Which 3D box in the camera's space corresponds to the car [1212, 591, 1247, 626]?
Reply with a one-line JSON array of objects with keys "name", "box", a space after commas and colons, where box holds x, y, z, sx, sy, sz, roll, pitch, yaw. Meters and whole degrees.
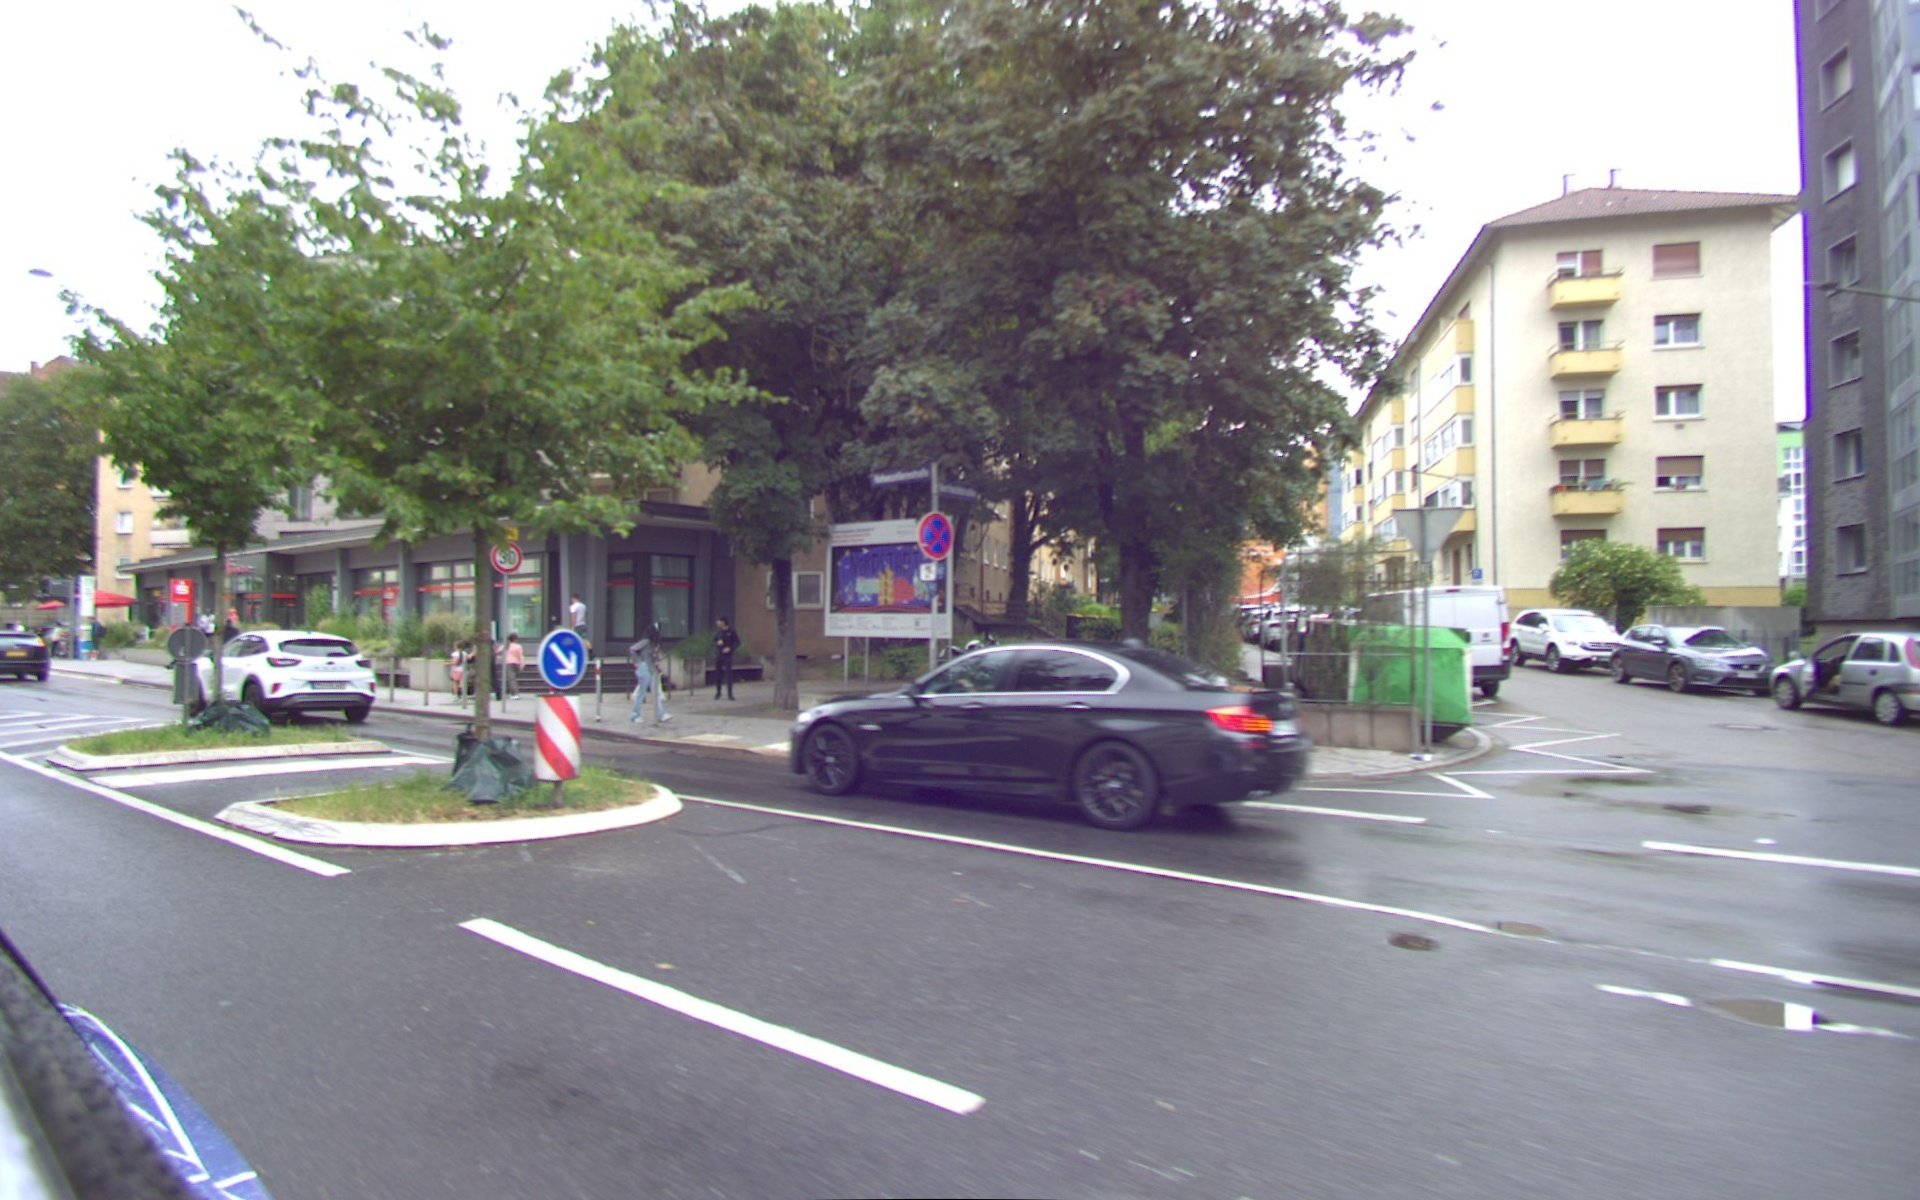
[{"name": "car", "box": [16.367, 0.577, 61.305, 1.982, 2.029, 3.979, -1, -2, 16]}]

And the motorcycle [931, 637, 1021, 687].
[{"name": "motorcycle", "box": [0.393, 1.443, 23.845, 2.026, 0.995, 0.798, -3, 1, -38]}]

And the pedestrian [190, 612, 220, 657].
[{"name": "pedestrian", "box": [-28.218, 1.280, 37.833, 0.712, 1.691, 0.707, -1, -1, 36]}]

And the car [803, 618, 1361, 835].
[{"name": "car", "box": [0.914, 0.886, 8.890, 4.492, 1.436, 1.995, -1, -2, 37]}]

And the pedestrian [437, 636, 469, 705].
[{"name": "pedestrian", "box": [-10.683, 1.479, 21.328, 0.480, 1.421, 0.429, -1, -1, 34]}]

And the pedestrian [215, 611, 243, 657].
[{"name": "pedestrian", "box": [-27.123, 1.262, 37.560, 0.701, 1.691, 0.803, 0, -1, -25]}]

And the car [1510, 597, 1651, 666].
[{"name": "car", "box": [16.787, 0.838, 27.625, 1.979, 1.741, 3.986, 0, -1, 11]}]

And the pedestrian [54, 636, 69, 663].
[{"name": "pedestrian", "box": [-38.250, 2.087, 43.081, 0.385, 1.125, 0.388, -1, -1, 37]}]

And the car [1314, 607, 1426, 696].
[{"name": "car", "box": [11.202, 1.379, 27.948, 1.977, 2.273, 3.989, 0, -2, 9]}]

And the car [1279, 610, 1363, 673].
[{"name": "car", "box": [12.394, 1.372, 35.013, 1.977, 2.029, 3.989, 0, -1, 9]}]

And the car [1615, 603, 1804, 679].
[{"name": "car", "box": [15.951, 0.838, 21.800, 1.676, 1.475, 3.986, 0, -1, 11]}]

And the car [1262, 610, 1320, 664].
[{"name": "car", "box": [12.931, 1.437, 39.684, 1.982, 2.029, 3.979, -1, -2, 16]}]

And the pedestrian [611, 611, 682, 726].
[{"name": "pedestrian", "box": [-5.166, 1.112, 16.712, 0.846, 1.840, 0.720, -1, -1, 14]}]

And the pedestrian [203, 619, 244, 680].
[{"name": "pedestrian", "box": [-22.623, 1.517, 31.085, 0.716, 1.840, 0.719, -1, -1, 18]}]

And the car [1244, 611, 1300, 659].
[{"name": "car", "box": [13.935, 1.550, 45.383, 1.979, 2.029, 3.984, 0, -2, 12]}]

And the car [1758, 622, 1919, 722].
[{"name": "car", "box": [15.067, 1.078, 16.279, 1.979, 1.454, 3.715, 0, -1, 11]}]

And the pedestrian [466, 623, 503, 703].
[{"name": "pedestrian", "box": [-10.140, 1.330, 21.583, 0.551, 1.686, 0.493, -1, -1, 34]}]

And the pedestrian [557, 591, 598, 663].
[{"name": "pedestrian", "box": [-9.979, 0.712, 26.423, 0.714, 1.840, 0.721, -1, -1, 9]}]

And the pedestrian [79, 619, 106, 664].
[{"name": "pedestrian", "box": [-35.894, 1.700, 41.863, 0.866, 1.833, 0.585, -1, -1, 29]}]

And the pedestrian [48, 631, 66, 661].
[{"name": "pedestrian", "box": [-38.703, 1.960, 43.369, 0.548, 1.287, 0.463, -1, -1, 37]}]

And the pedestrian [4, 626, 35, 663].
[{"name": "pedestrian", "box": [-44.970, 2.108, 48.400, 0.754, 1.721, 0.790, -1, 0, 12]}]

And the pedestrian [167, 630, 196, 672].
[{"name": "pedestrian", "box": [-27.147, 1.775, 35.306, 0.582, 1.431, 0.727, 0, -1, -18]}]

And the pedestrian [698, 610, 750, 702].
[{"name": "pedestrian", "box": [-4.906, 1.139, 21.043, 0.690, 1.859, 0.856, -1, -1, 22]}]

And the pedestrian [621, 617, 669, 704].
[{"name": "pedestrian", "box": [-6.573, 1.246, 21.128, 0.714, 1.772, 0.654, 0, -1, 14]}]

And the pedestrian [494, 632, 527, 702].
[{"name": "pedestrian", "box": [-9.771, 1.441, 21.991, 0.529, 1.484, 0.456, -1, -1, 34]}]

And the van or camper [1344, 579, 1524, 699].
[{"name": "van or camper", "box": [10.033, 0.727, 21.886, 2.186, 2.283, 4.607, -1, 1, 8]}]

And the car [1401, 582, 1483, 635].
[{"name": "car", "box": [19.280, 0.376, 40.663, 1.979, 2.029, 3.986, 0, -1, 11]}]

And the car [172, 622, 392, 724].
[{"name": "car", "box": [-11.845, 1.246, 17.612, 4.081, 1.581, 1.803, -1, -6, 36]}]

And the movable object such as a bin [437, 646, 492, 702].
[{"name": "movable object such as a bin", "box": [-10.815, 1.605, 22.093, 0.963, 1.143, 0.698, -1, 0, 34]}]

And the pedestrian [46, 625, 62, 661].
[{"name": "pedestrian", "box": [-39.867, 1.901, 44.532, 0.532, 1.561, 0.433, -1, -1, 36]}]

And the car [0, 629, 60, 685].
[{"name": "car", "box": [-28.456, 1.639, 29.827, 4.234, 1.569, 1.938, -1, -3, 35]}]
